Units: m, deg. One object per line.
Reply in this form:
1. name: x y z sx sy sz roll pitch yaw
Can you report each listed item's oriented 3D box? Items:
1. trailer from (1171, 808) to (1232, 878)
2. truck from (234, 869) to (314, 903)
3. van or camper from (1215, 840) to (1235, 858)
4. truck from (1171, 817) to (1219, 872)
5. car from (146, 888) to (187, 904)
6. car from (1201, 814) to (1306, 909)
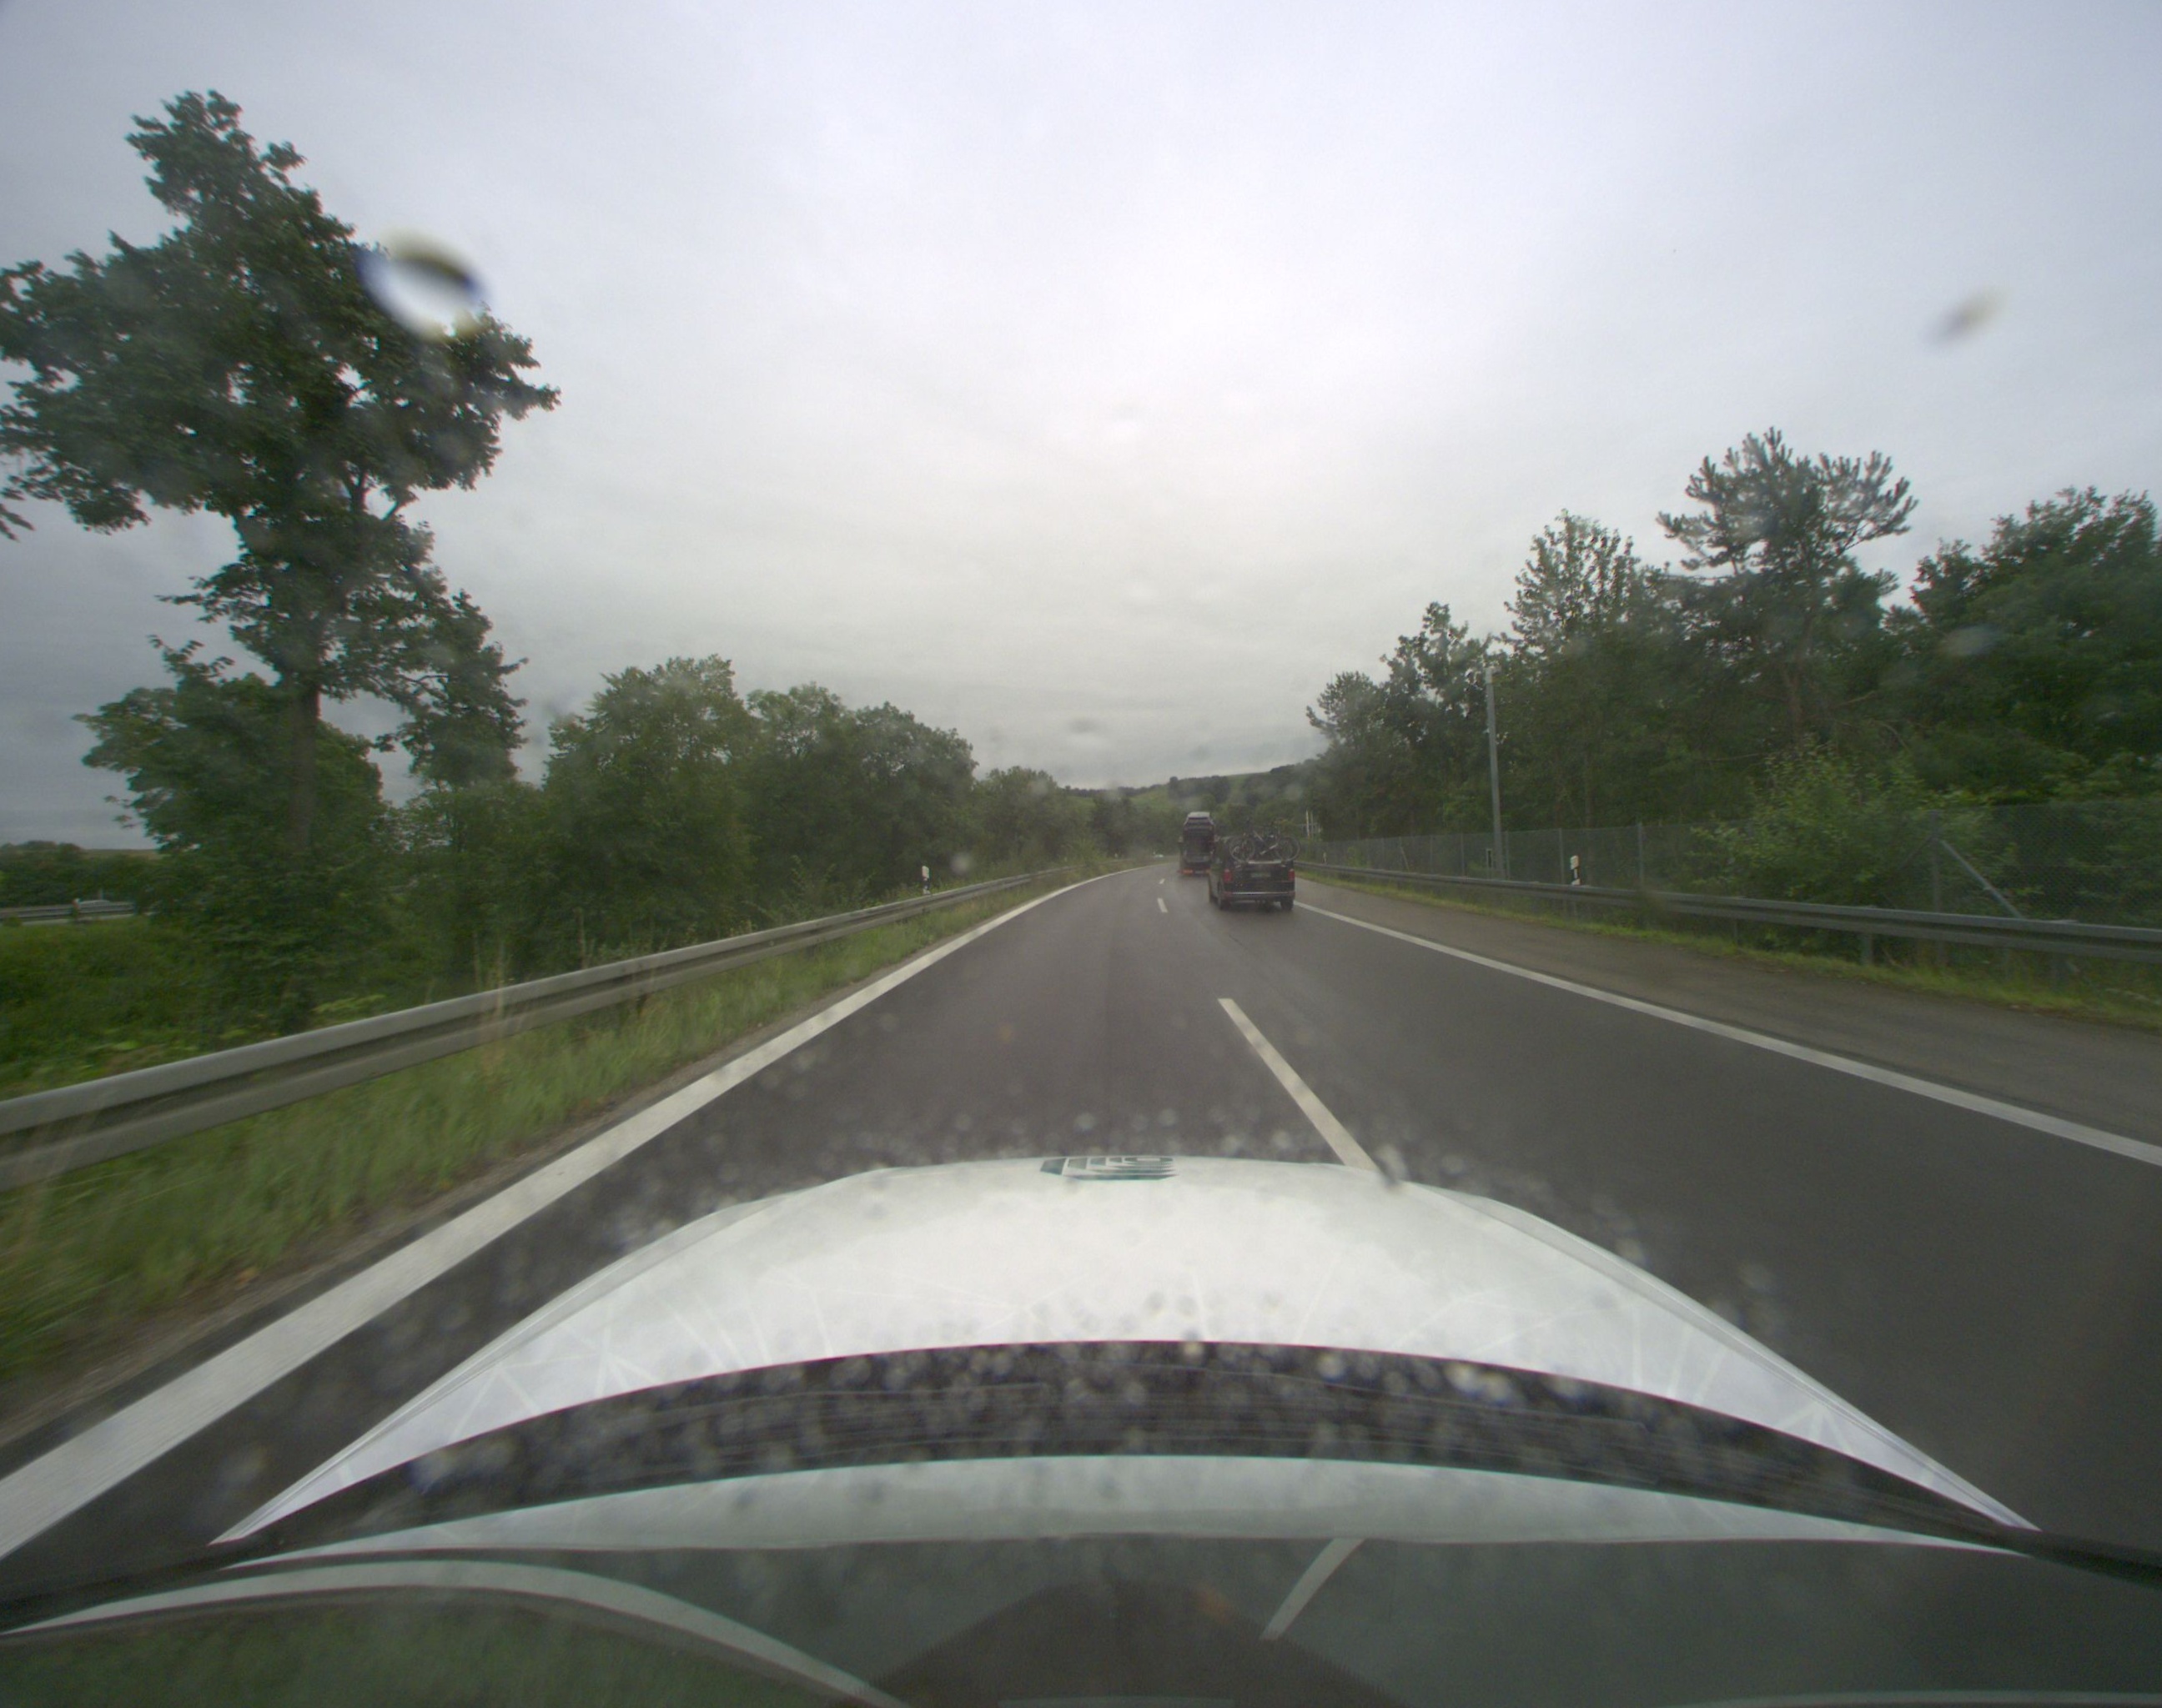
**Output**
1. trailer: 7.528 -0.652 52.464 3.431 3.999 12.047 0 0 6
2. truck: -87.647 3.411 88.650 2.868 3.364 8.568 -2 0 -21
3. van or camper: 18.083 -0.583 101.796 2.077 2.231 4.448 0 0 15
4. truck: 8.759 -0.705 63.859 3.377 3.999 10.865 0 0 6
5. car: -124.191 5.711 110.609 2.002 1.837 3.971 -3 2 -22
6. car: 4.533 0.149 22.326 2.100 2.264 5.904 0 0 5
